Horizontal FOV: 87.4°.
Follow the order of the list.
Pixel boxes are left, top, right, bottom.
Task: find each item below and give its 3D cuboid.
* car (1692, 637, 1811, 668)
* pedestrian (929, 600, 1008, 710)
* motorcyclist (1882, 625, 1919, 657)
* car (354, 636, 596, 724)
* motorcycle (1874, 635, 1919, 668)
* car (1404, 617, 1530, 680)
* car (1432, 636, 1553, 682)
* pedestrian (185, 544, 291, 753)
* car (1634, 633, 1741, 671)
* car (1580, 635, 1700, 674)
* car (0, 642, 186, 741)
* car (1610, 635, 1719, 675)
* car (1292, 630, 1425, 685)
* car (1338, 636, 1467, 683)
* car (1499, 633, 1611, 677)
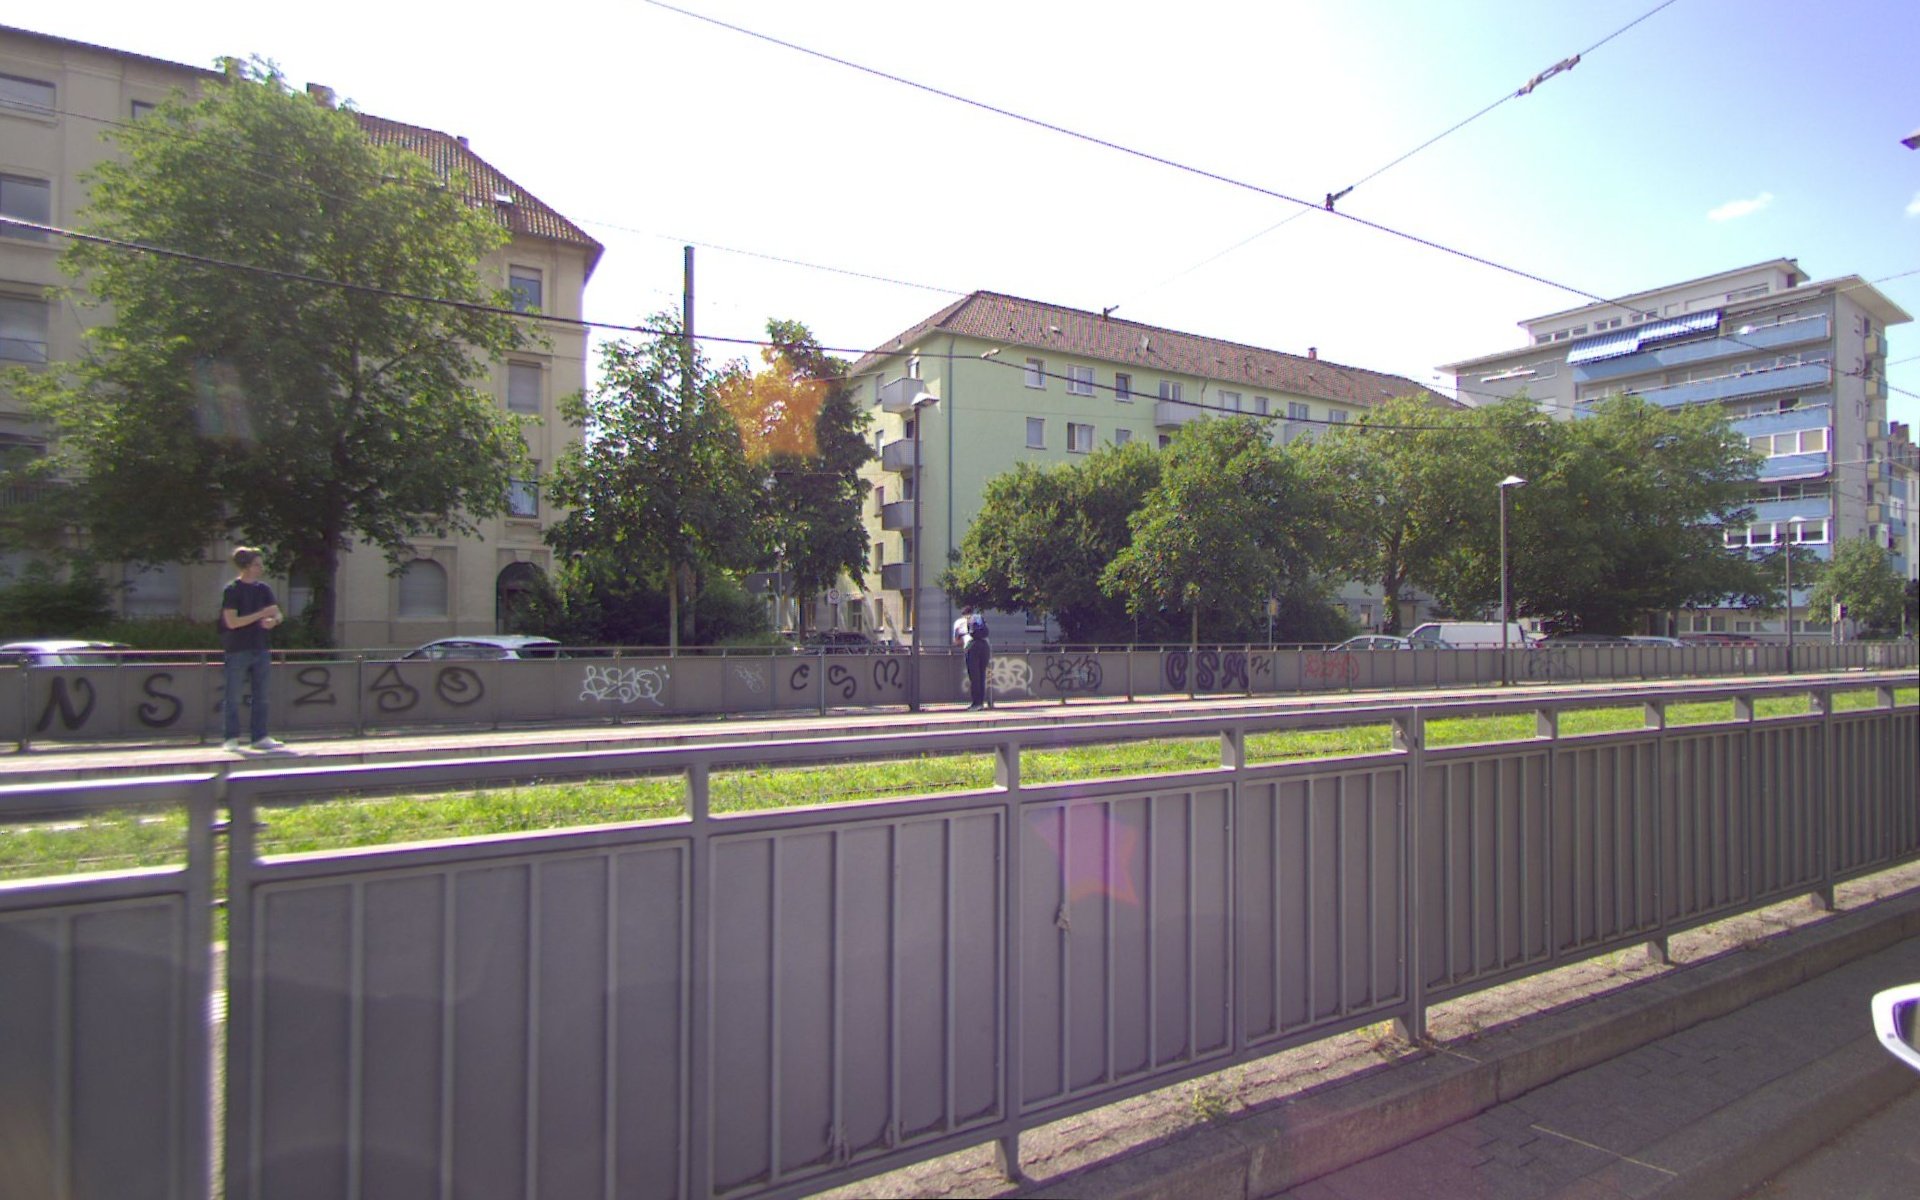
[{"bbox_3d":[36.825,2.430,46.850,4.054,1.412,1.609,-1,-2,22],"label":"car"},{"bbox_3d":[0.122,0.823,15.162,0.790,1.599,0.983,2,-2,-33],"label":"pedestrian"},{"bbox_3d":[40.002,1.745,42.688,0.974,1.357,0.934,1,-2,-29],"label":"motorcyclist"},{"bbox_3d":[-9.413,1.501,19.573,4.071,1.585,1.927,-1,-3,20],"label":"car"},{"bbox_3d":[39.944,2.154,42.597,2.487,1.357,1.010,1,-2,-30],"label":"motorcycle"},{"bbox_3d":[17.889,1.687,35.491,3.880,2.097,2.047,-1,-2,29],"label":"car"},{"bbox_3d":[19.748,2.148,37.345,3.880,1.600,1.716,-1,-2,28],"label":"car"},{"bbox_3d":[-6.933,0.466,9.682,0.631,1.916,0.747,3,-2,-28],"label":"pedestrian"},{"bbox_3d":[31.923,2.268,44.171,3.601,1.600,1.646,-1,-2,30],"label":"car"},{"bbox_3d":[27.807,2.194,41.240,3.957,1.534,1.606,-1,-2,31],"label":"car"},{"bbox_3d":[-14.916,1.413,16.366,3.944,1.410,1.816,-1,-1,20],"label":"car"},{"bbox_3d":[29.899,2.309,42.766,3.601,1.600,1.646,-1,-2,30],"label":"car"},{"bbox_3d":[12.962,1.843,32.734,3.923,1.661,1.826,-1,0,23],"label":"car"},{"bbox_3d":[15.115,1.989,34.338,3.926,1.505,1.608,-1,-2,27],"label":"car"},{"bbox_3d":[22.671,2.071,38.427,3.601,1.600,1.646,-1,-2,30],"label":"car"}]
